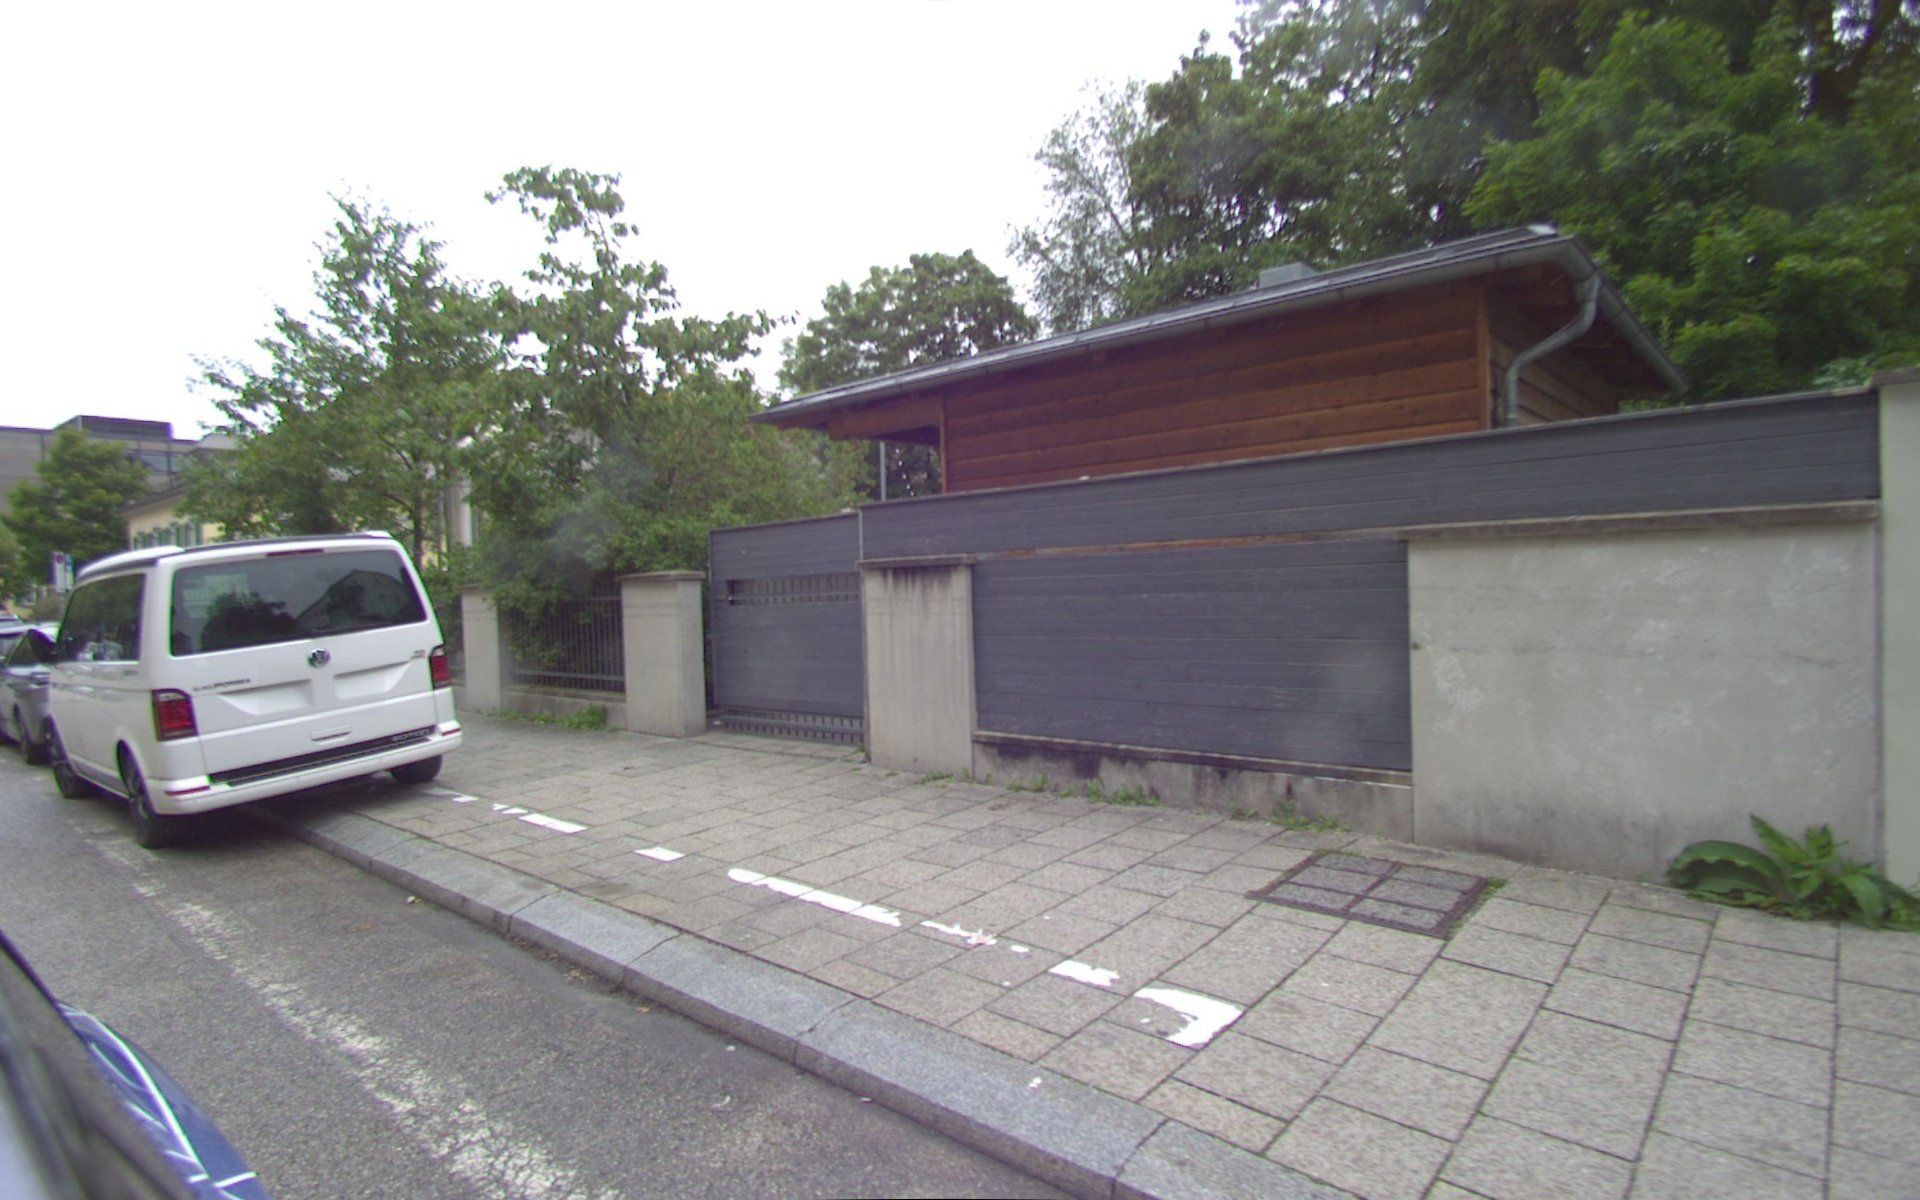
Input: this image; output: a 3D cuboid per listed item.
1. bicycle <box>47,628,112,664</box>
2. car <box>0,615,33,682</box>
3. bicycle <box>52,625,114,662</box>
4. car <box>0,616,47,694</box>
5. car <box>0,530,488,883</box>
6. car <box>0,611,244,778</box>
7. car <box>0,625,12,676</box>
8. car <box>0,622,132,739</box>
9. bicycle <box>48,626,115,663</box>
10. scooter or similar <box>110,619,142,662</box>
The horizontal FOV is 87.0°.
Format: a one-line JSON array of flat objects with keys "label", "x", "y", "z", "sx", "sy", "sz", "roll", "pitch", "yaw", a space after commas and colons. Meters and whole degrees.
[{"label": "bicycle", "x": -30.163, "y": 1.559, "z": 34.670, "sx": 0.387, "sy": 1.145, "sz": 1.612, "roll": -2, "pitch": 0, "yaw": 40}, {"label": "car", "x": -27.079, "y": 1.363, "z": 27.846, "sx": 4.808, "sy": 1.704, "sz": 1.881, "roll": -2, "pitch": 2, "yaw": 43}, {"label": "bicycle", "x": -30.806, "y": 1.500, "z": 35.580, "sx": 1.608, "sy": 1.182, "sz": 0.467, "roll": -3, "pitch": 1, "yaw": -41}, {"label": "car", "x": -22.190, "y": 1.243, "z": 22.944, "sx": 4.744, "sy": 1.619, "sz": 1.825, "roll": -2, "pitch": 2, "yaw": 44}, {"label": "car", "x": -6.010, "y": 0.614, "z": 8.148, "sx": 5.147, "sy": 2.005, "sz": 1.947, "roll": -2, "pitch": 2, "yaw": 40}, {"label": "car", "x": -10.455, "y": 0.997, "z": 12.125, "sx": 4.691, "sy": 1.555, "sz": 1.869, "roll": -2, "pitch": 0, "yaw": 39}, {"label": "car", "x": -31.128, "y": 1.615, "z": 31.399, "sx": 4.650, "sy": 1.530, "sz": 1.878, "roll": -2, "pitch": 2, "yaw": 40}, {"label": "car", "x": -14.222, "y": 1.146, "z": 15.543, "sx": 4.188, "sy": 1.556, "sz": 1.838, "roll": -2, "pitch": -1, "yaw": 43}, {"label": "bicycle", "x": -30.376, "y": 1.526, "z": 35.000, "sx": 0.352, "sy": 1.180, "sz": 1.684, "roll": -2, "pitch": 0, "yaw": 40}, {"label": "scooter or similar", "x": -27.316, "y": 1.311, "z": 33.158, "sx": 0.370, "sy": 1.353, "sz": 1.357, "roll": -2, "pitch": 0, "yaw": -22}]
